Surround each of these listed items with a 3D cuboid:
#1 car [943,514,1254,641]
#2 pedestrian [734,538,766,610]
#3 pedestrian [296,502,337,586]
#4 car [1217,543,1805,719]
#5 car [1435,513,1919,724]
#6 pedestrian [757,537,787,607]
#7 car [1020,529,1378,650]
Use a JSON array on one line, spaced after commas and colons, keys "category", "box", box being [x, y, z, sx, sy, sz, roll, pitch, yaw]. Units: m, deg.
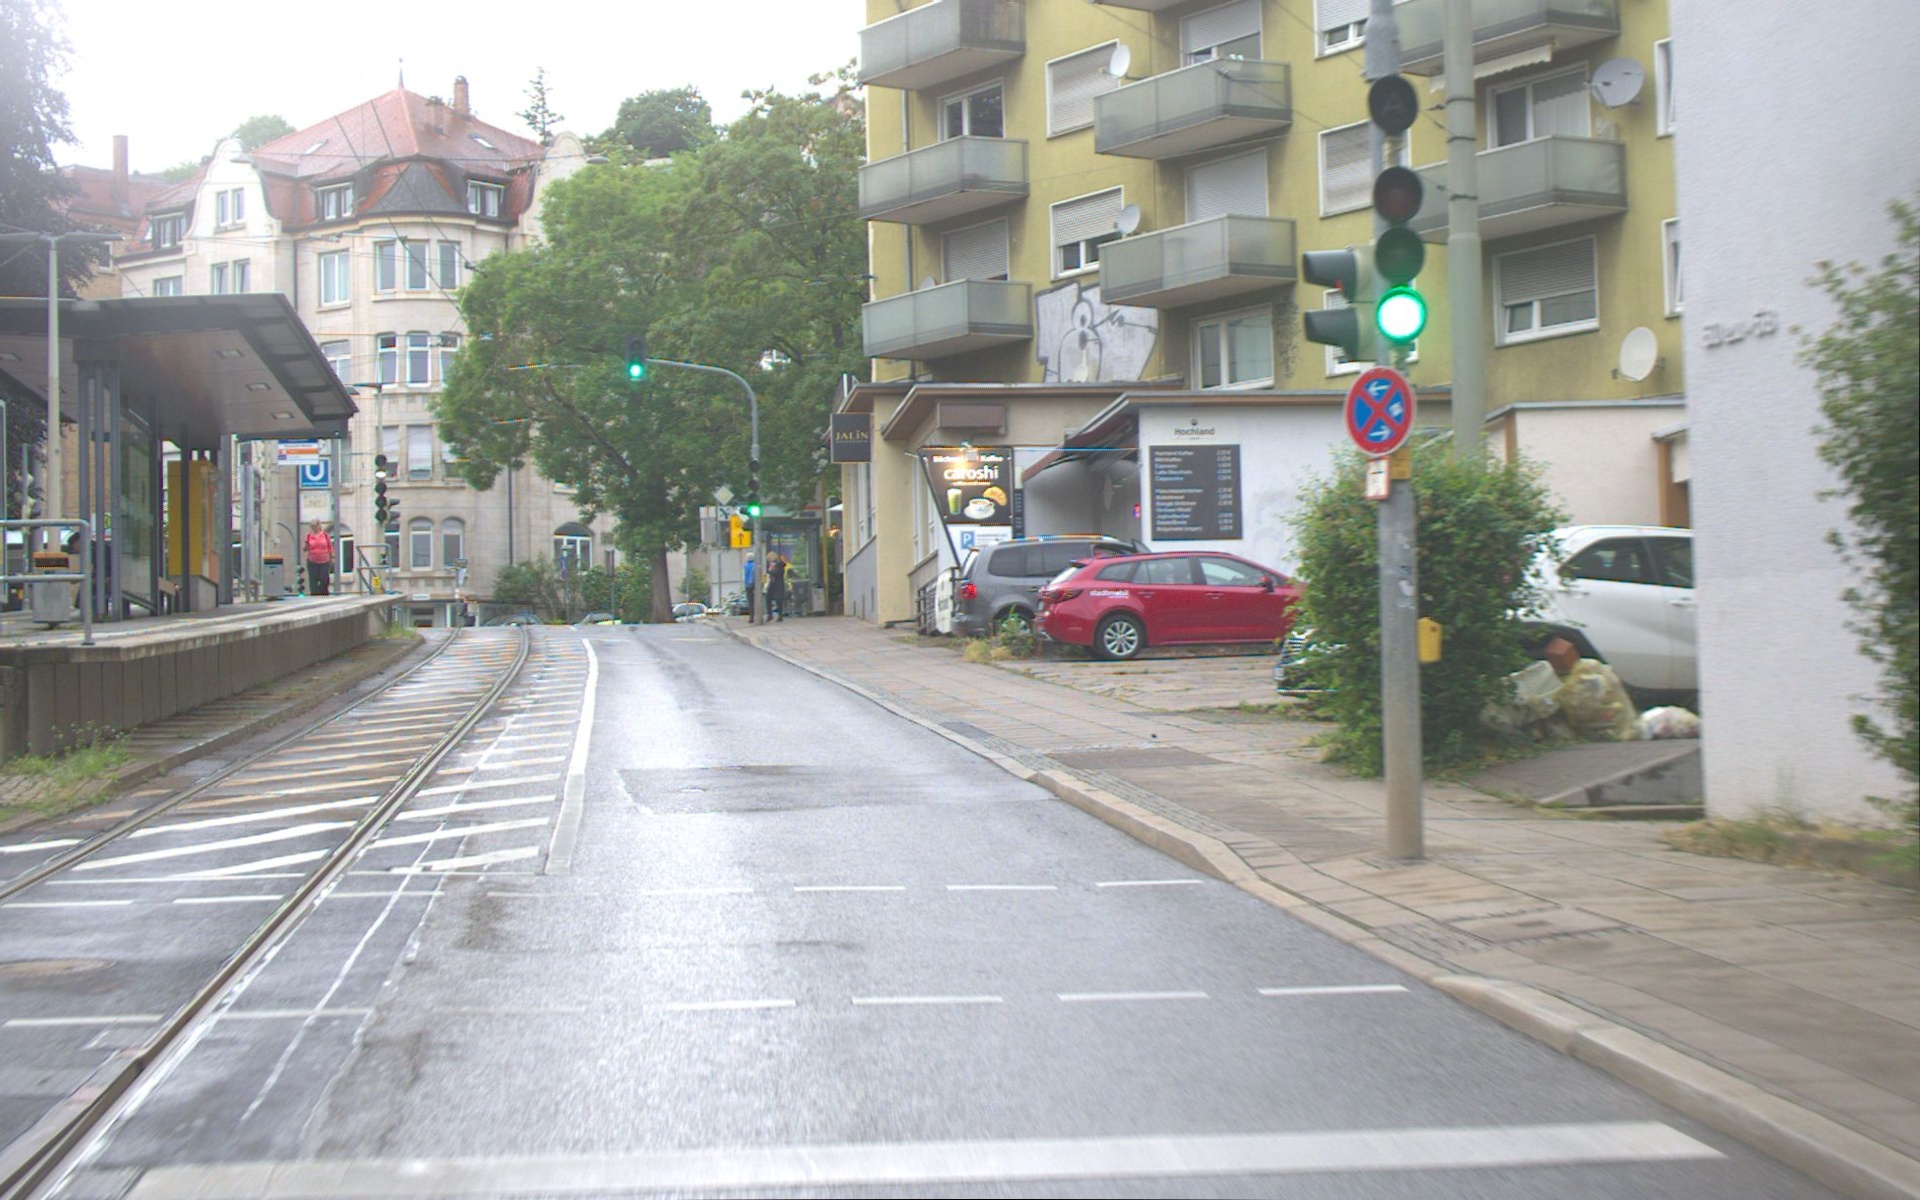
[{"category": "car", "box": [1.993, -0.334, 50.282, 4.328, 1.668, 1.781, -2, 0, -4]}, {"category": "pedestrian", "box": [-4.654, -0.578, 76.259, 0.588, 1.548, 0.650, -3, 1, -7]}, {"category": "pedestrian", "box": [-11.971, -1.043, 64.008, 0.671, 1.542, 0.771, -1, 1, -7]}, {"category": "car", "box": [4.967, 0.263, 31.412, 4.930, 1.431, 1.975, 1, 3, -5]}, {"category": "car", "box": [5.707, 0.133, 25.285, 3.986, 1.462, 1.817, 1, 1, -11]}, {"category": "pedestrian", "box": [-4.210, -0.626, 77.143, 0.545, 1.548, 0.559, -3, 1, -9]}, {"category": "car", "box": [3.213, -0.149, 46.702, 4.568, 1.433, 1.765, -2, 0, -6]}]
